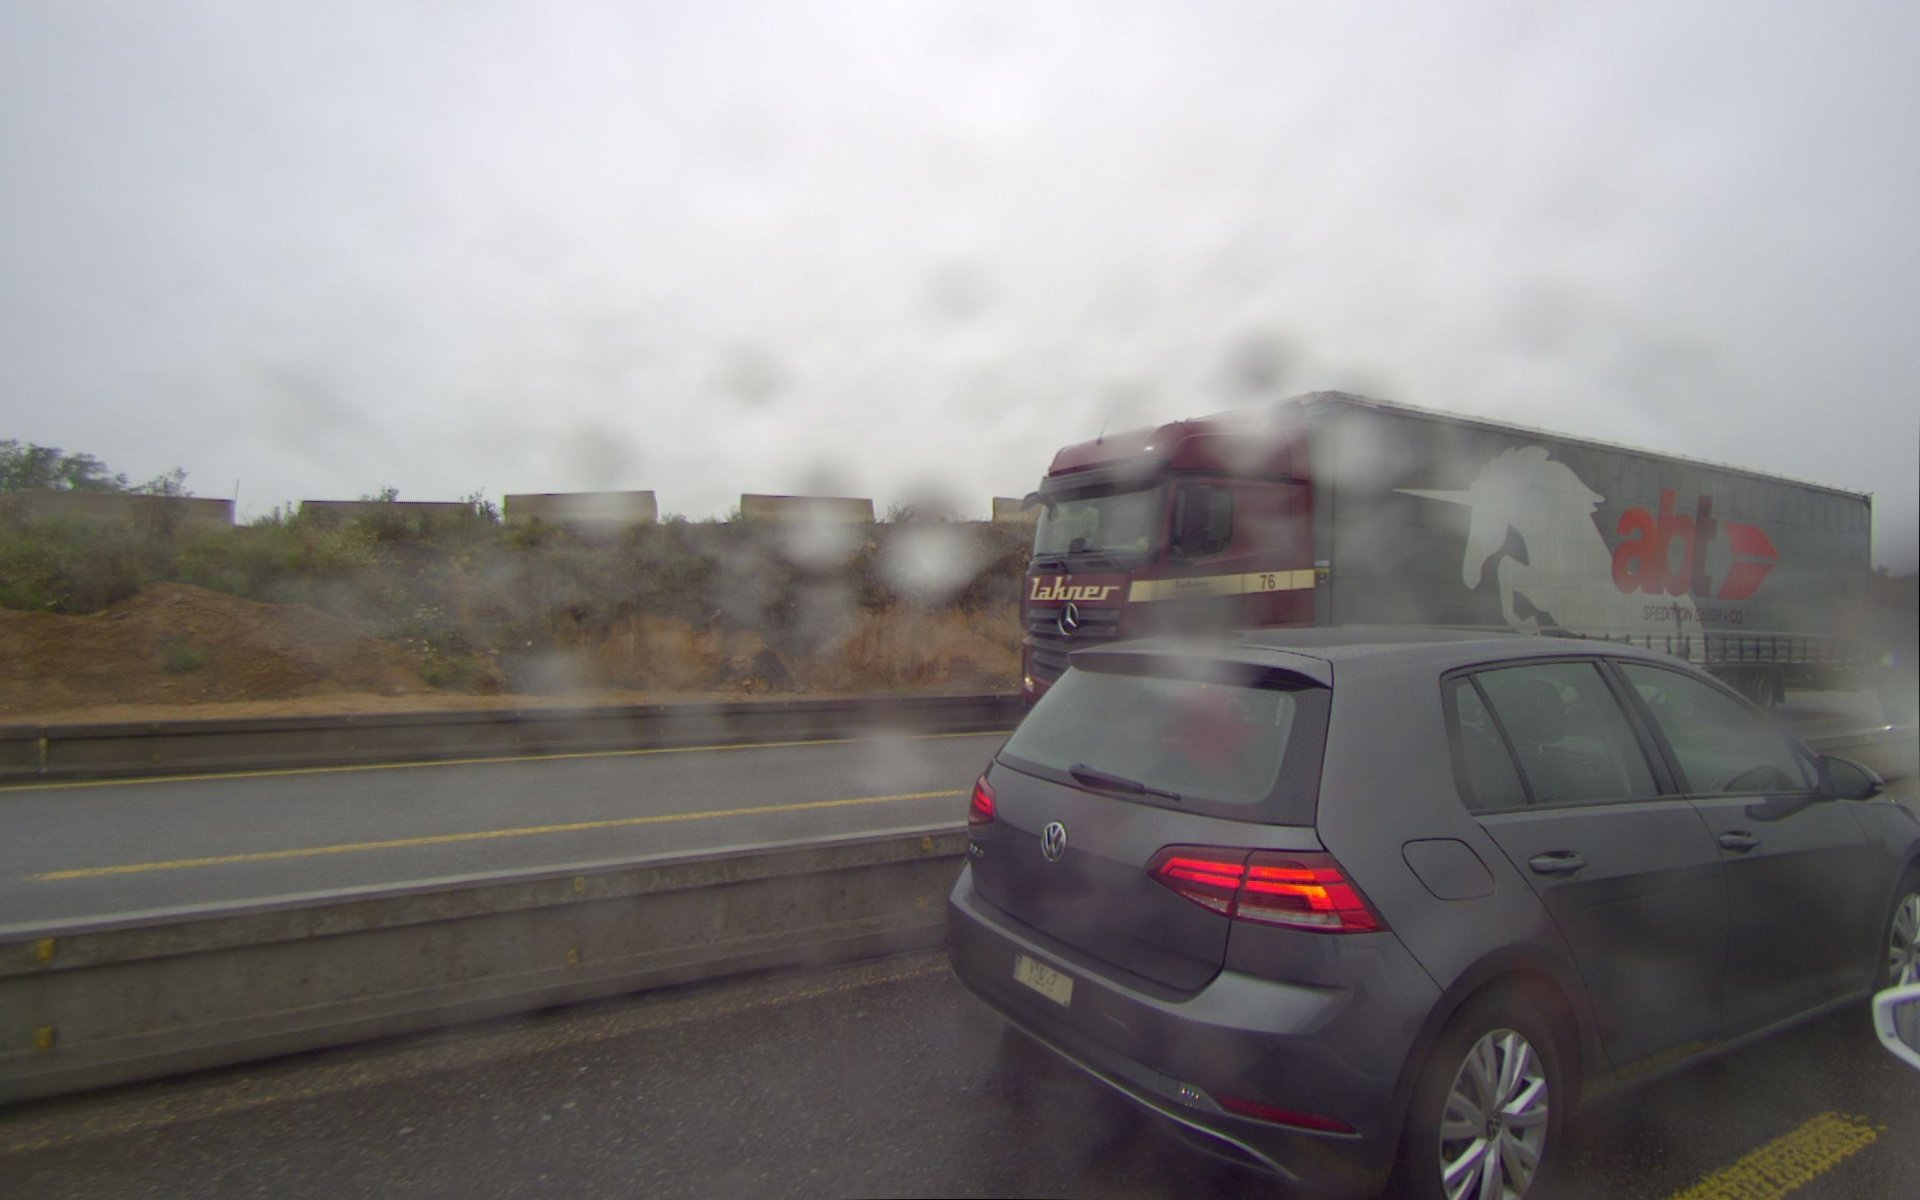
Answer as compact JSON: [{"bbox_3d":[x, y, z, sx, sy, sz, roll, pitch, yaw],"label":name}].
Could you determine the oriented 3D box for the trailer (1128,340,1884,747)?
[{"bbox_3d":[9.742,-0.475,16.205,15.514,4.479,2.982,1,-2,-30],"label":"trailer"}]

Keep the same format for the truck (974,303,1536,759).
[{"bbox_3d":[3.865,-0.580,12.820,6.849,4.467,2.966,1,-2,-30],"label":"truck"}]

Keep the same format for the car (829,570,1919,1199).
[{"bbox_3d":[1.855,0.803,3.497,4.318,1.526,1.606,2,-3,-31],"label":"car"}]

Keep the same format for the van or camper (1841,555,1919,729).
[{"bbox_3d":[17.193,0.710,16.573,5.759,2.649,2.268,1,0,-30],"label":"van or camper"}]
